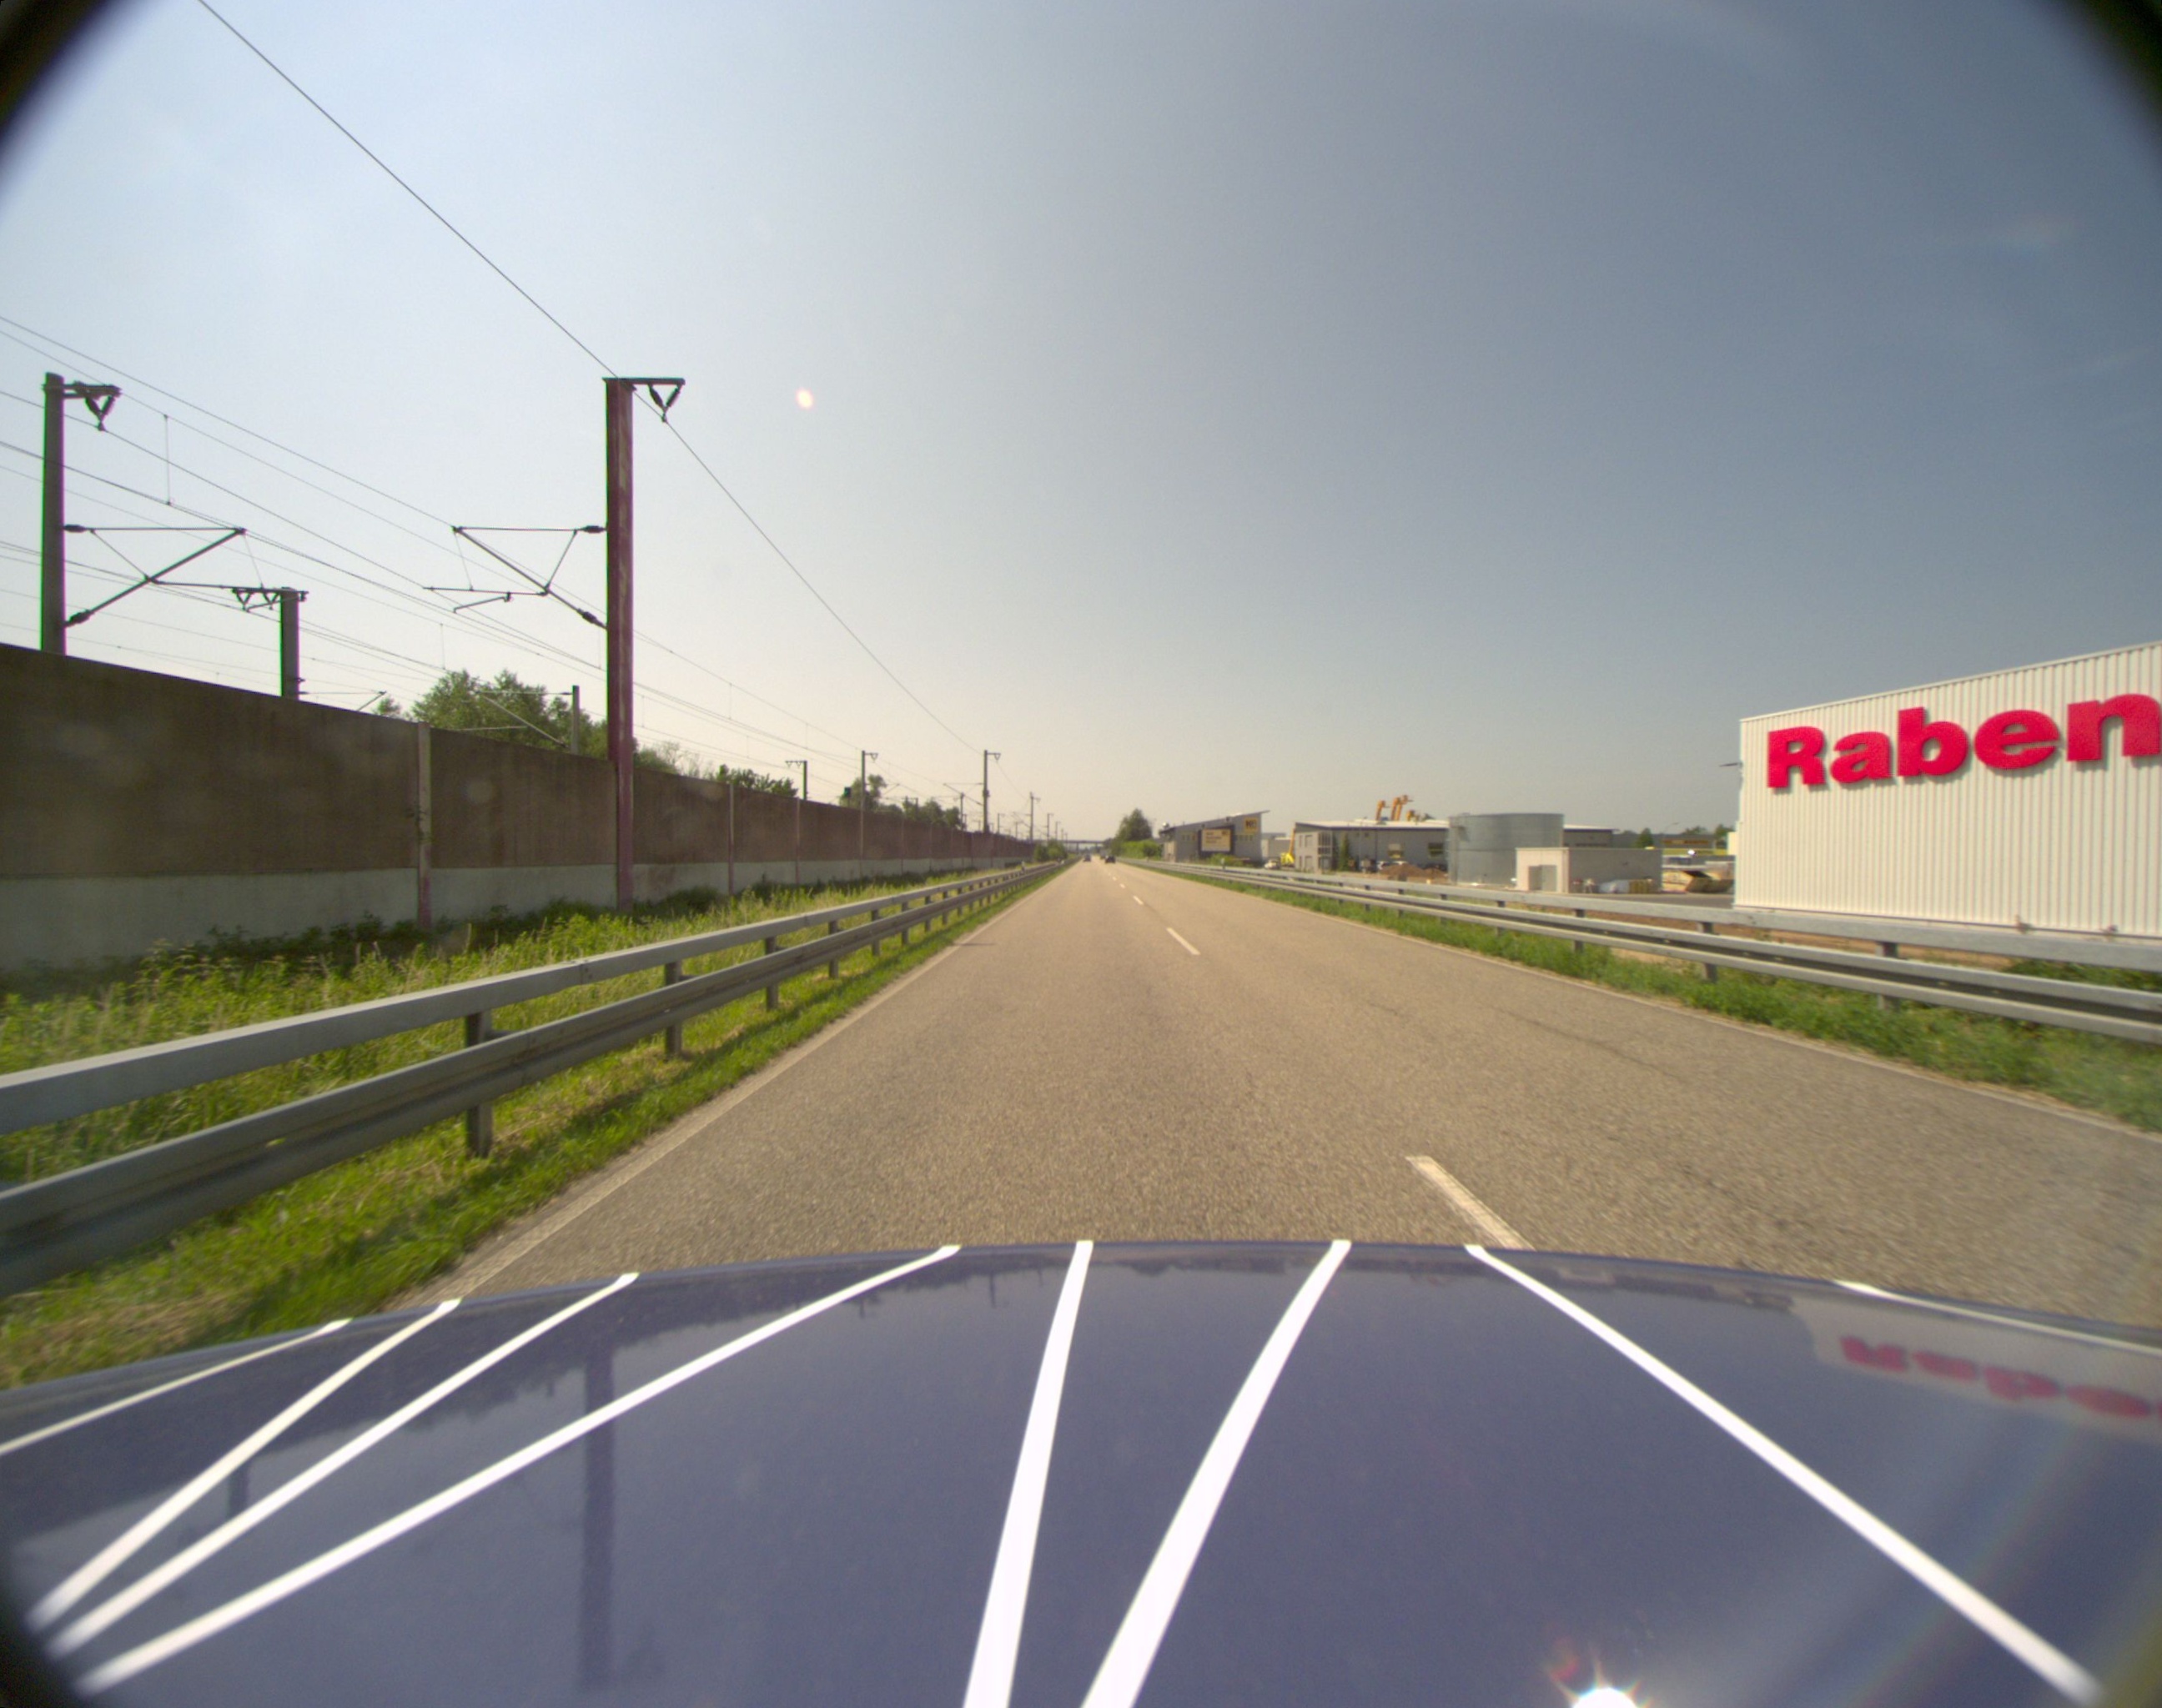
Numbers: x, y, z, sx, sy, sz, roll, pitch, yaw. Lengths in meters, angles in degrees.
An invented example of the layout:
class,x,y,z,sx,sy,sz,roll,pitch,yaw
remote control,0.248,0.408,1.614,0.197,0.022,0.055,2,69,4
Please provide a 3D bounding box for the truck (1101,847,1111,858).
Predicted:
class,x,y,z,sx,sy,sz,roll,pitch,yaw
truck,6.873,-0.458,208.606,2.242,2.950,6.317,-2,1,-1

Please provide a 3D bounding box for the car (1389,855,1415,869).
class,x,y,z,sx,sy,sz,roll,pitch,yaw
car,45.681,1.125,108.157,1.999,2.002,3.999,-1,1,-1

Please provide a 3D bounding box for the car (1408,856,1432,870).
class,x,y,z,sx,sy,sz,roll,pitch,yaw
car,48.397,1.276,108.496,1.834,1.889,3.689,2,0,1

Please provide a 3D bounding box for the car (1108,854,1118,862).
class,x,y,z,sx,sy,sz,roll,pitch,yaw
car,5.587,0.660,132.044,1.544,1.427,3.654,-1,0,0

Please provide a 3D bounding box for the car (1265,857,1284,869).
class,x,y,z,sx,sy,sz,roll,pitch,yaw
car,27.337,1.217,107.357,1.555,1.664,3.311,0,1,-4

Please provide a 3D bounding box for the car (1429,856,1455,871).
class,x,y,z,sx,sy,sz,roll,pitch,yaw
car,51.276,1.313,107.990,1.834,2.002,3.689,2,0,1

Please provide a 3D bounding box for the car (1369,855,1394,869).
class,x,y,z,sx,sy,sz,roll,pitch,yaw
car,42.721,1.132,108.093,1.999,2.002,3.999,0,1,-1
